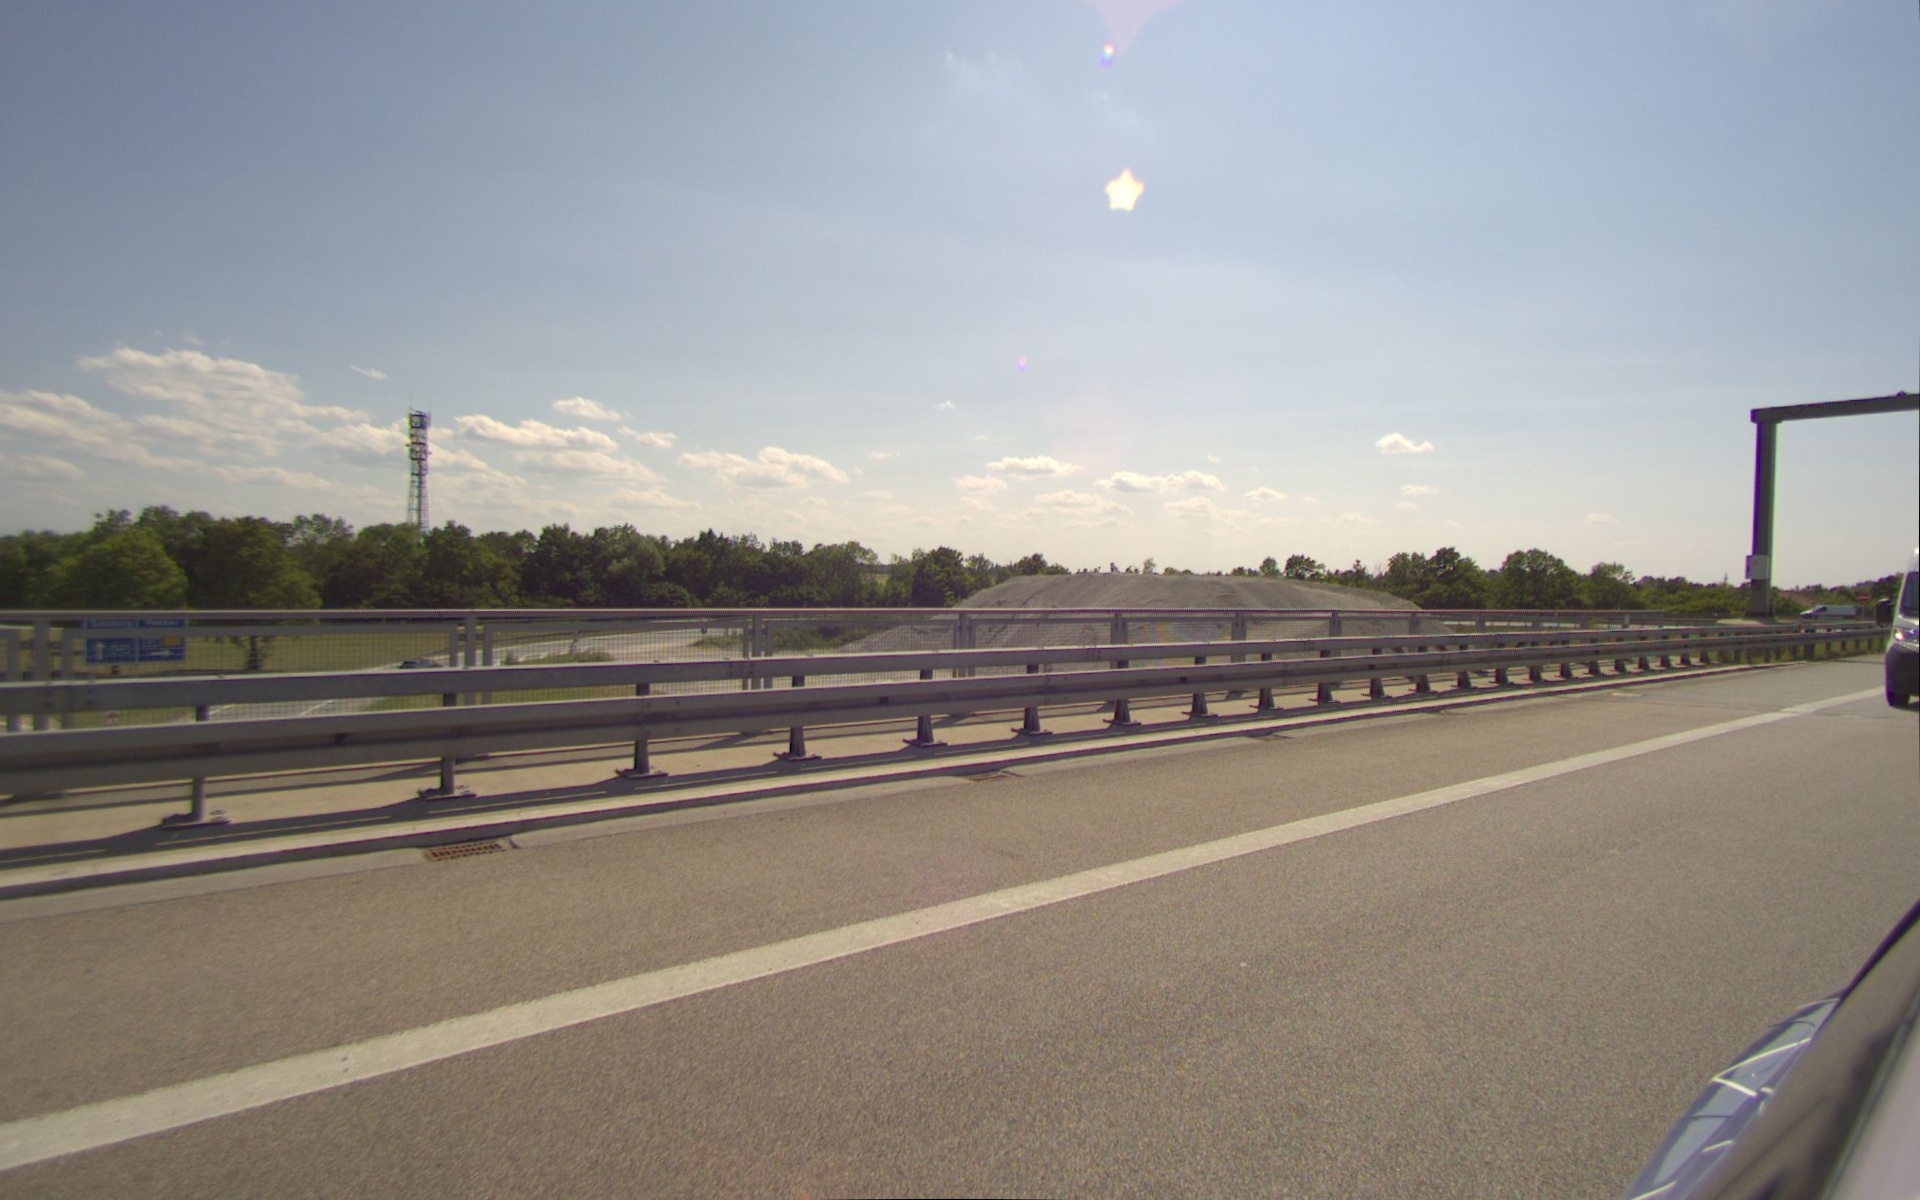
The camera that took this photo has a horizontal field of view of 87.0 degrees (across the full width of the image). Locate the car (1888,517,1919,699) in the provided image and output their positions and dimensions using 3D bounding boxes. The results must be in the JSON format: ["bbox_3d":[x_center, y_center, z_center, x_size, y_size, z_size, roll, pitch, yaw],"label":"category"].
[{"bbox_3d":[16.307,0.168,15.527,6.123,2.555,2.087,1,1,-39],"label":"car"}]
